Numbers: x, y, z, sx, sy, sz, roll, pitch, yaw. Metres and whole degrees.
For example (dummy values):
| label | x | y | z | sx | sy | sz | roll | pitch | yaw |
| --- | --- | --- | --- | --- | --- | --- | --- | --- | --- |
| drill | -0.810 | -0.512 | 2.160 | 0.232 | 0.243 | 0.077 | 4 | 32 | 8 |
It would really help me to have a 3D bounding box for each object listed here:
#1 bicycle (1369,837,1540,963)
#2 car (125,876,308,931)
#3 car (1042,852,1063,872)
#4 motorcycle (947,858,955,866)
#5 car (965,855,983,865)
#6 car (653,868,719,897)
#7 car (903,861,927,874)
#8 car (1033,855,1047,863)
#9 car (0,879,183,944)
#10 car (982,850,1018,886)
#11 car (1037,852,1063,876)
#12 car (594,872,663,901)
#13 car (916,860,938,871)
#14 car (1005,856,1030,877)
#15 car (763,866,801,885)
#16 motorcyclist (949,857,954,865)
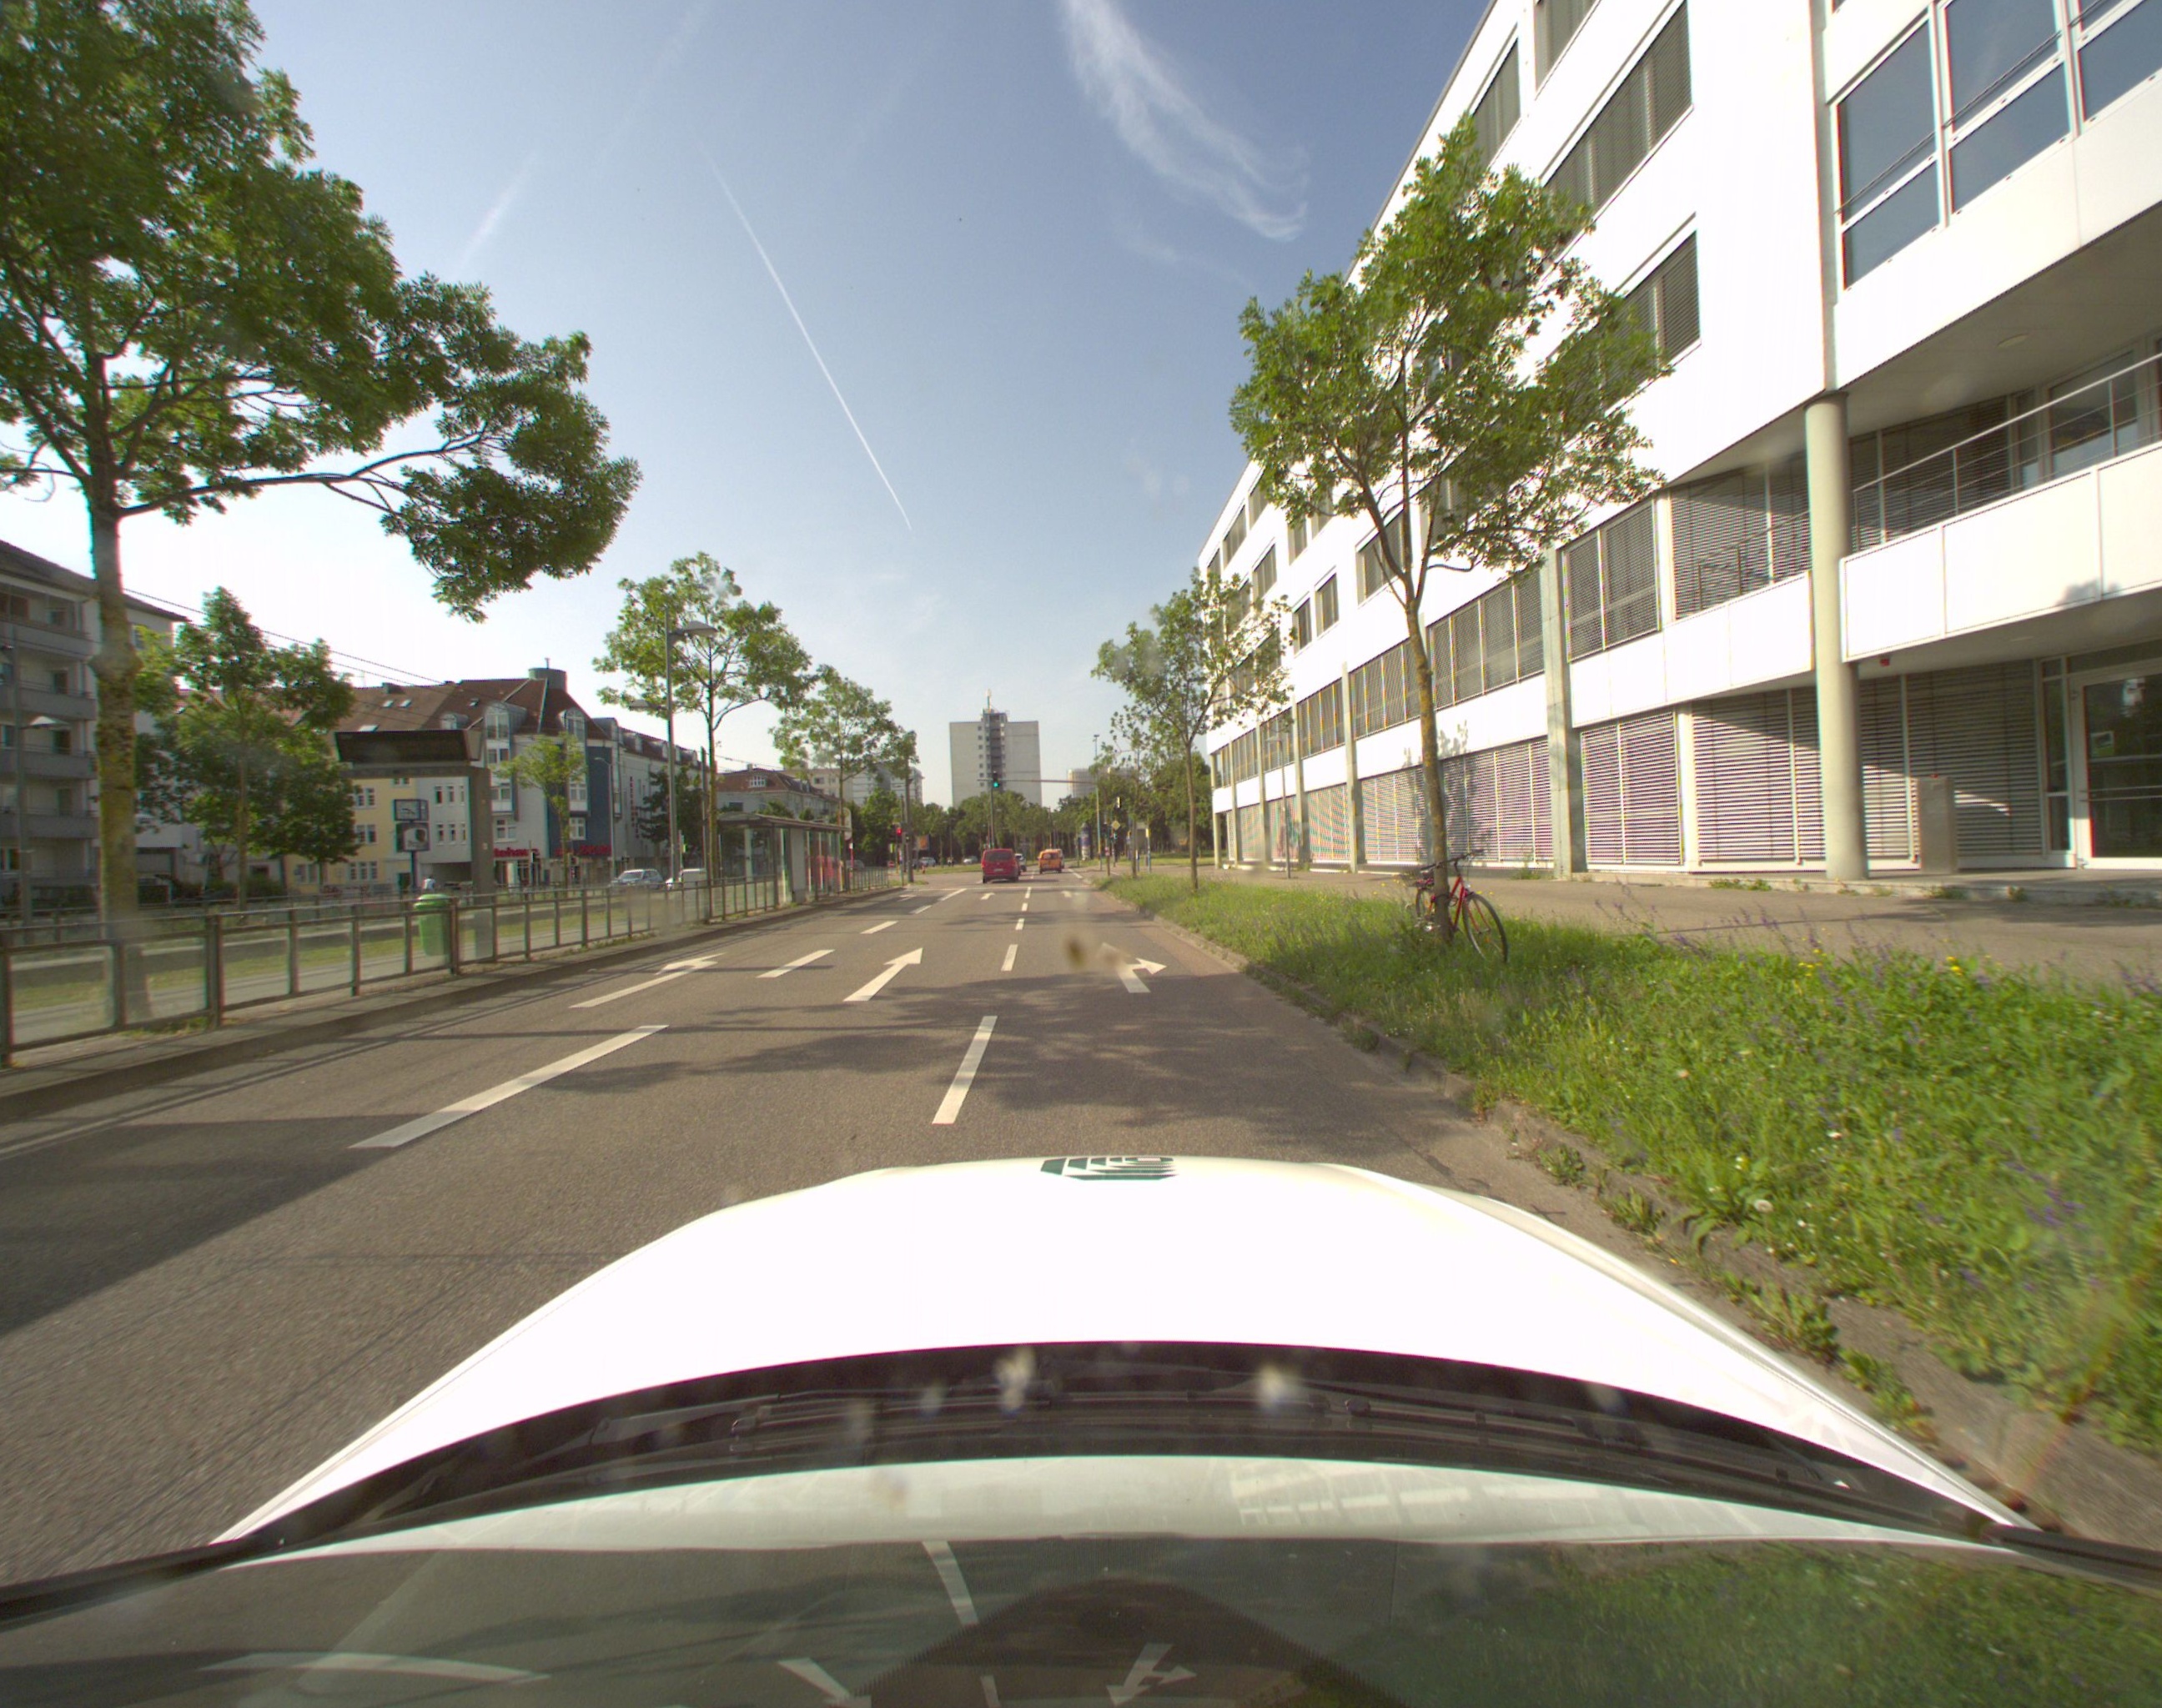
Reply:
| label | x | y | z | sx | sy | sz | roll | pitch | yaw |
| --- | --- | --- | --- | --- | --- | --- | --- | --- | --- |
| bicycle | 3.423 | 0.383 | 7.681 | 0.616 | 1.017 | 1.877 | -2 | 0 | -4 |
| car | -36.899 | 2.037 | 35.040 | 2.361 | 2.030 | 5.304 | -1 | 0 | -4 |
| car | -2.924 | 0.811 | 82.917 | 1.989 | 2.014 | 3.995 | -1 | -1 | -3 |
| motorcycle | -19.770 | 1.259 | 124.269 | 0.633 | 1.167 | 1.648 | -2 | 0 | 10 |
| car | -18.625 | 1.024 | 141.845 | 1.864 | 1.574 | 4.011 | -2 | 0 | 9 |
| car | -24.049 | 1.704 | 49.796 | 1.987 | 1.596 | 4.050 | -1 | 0 | 1 |
| car | -21.663 | 1.751 | 106.313 | 1.866 | 1.574 | 4.006 | -1 | 0 | 5 |
| car | -8.630 | 1.025 | 170.090 | 1.863 | 1.574 | 4.013 | -2 | 0 | 12 |
| car | -36.461 | 1.987 | 29.400 | 2.361 | 2.030 | 5.304 | -1 | 0 | -4 |
| car | -4.545 | 0.776 | 46.091 | 1.871 | 1.853 | 3.994 | -2 | 0 | -4 |
| car | -2.366 | 0.754 | 61.958 | 1.871 | 1.696 | 3.970 | -2 | 0 | -2 |
| car | -27.035 | 1.895 | 48.804 | 1.989 | 1.596 | 3.996 | -1 | 0 | -2 |
| car | -23.740 | 1.709 | 125.375 | 1.863 | 1.574 | 4.234 | -2 | 0 | 11 |
| car | -5.597 | 1.067 | 71.755 | 1.989 | 1.706 | 3.995 | -3 | 0 | -3 |
| car | -27.340 | 1.916 | 74.563 | 1.869 | 1.574 | 4.000 | -2 | 0 | 0 |
| motorcyclist | -19.770 | 1.052 | 124.315 | 0.616 | 1.167 | 0.552 | -2 | 0 | 10 |
